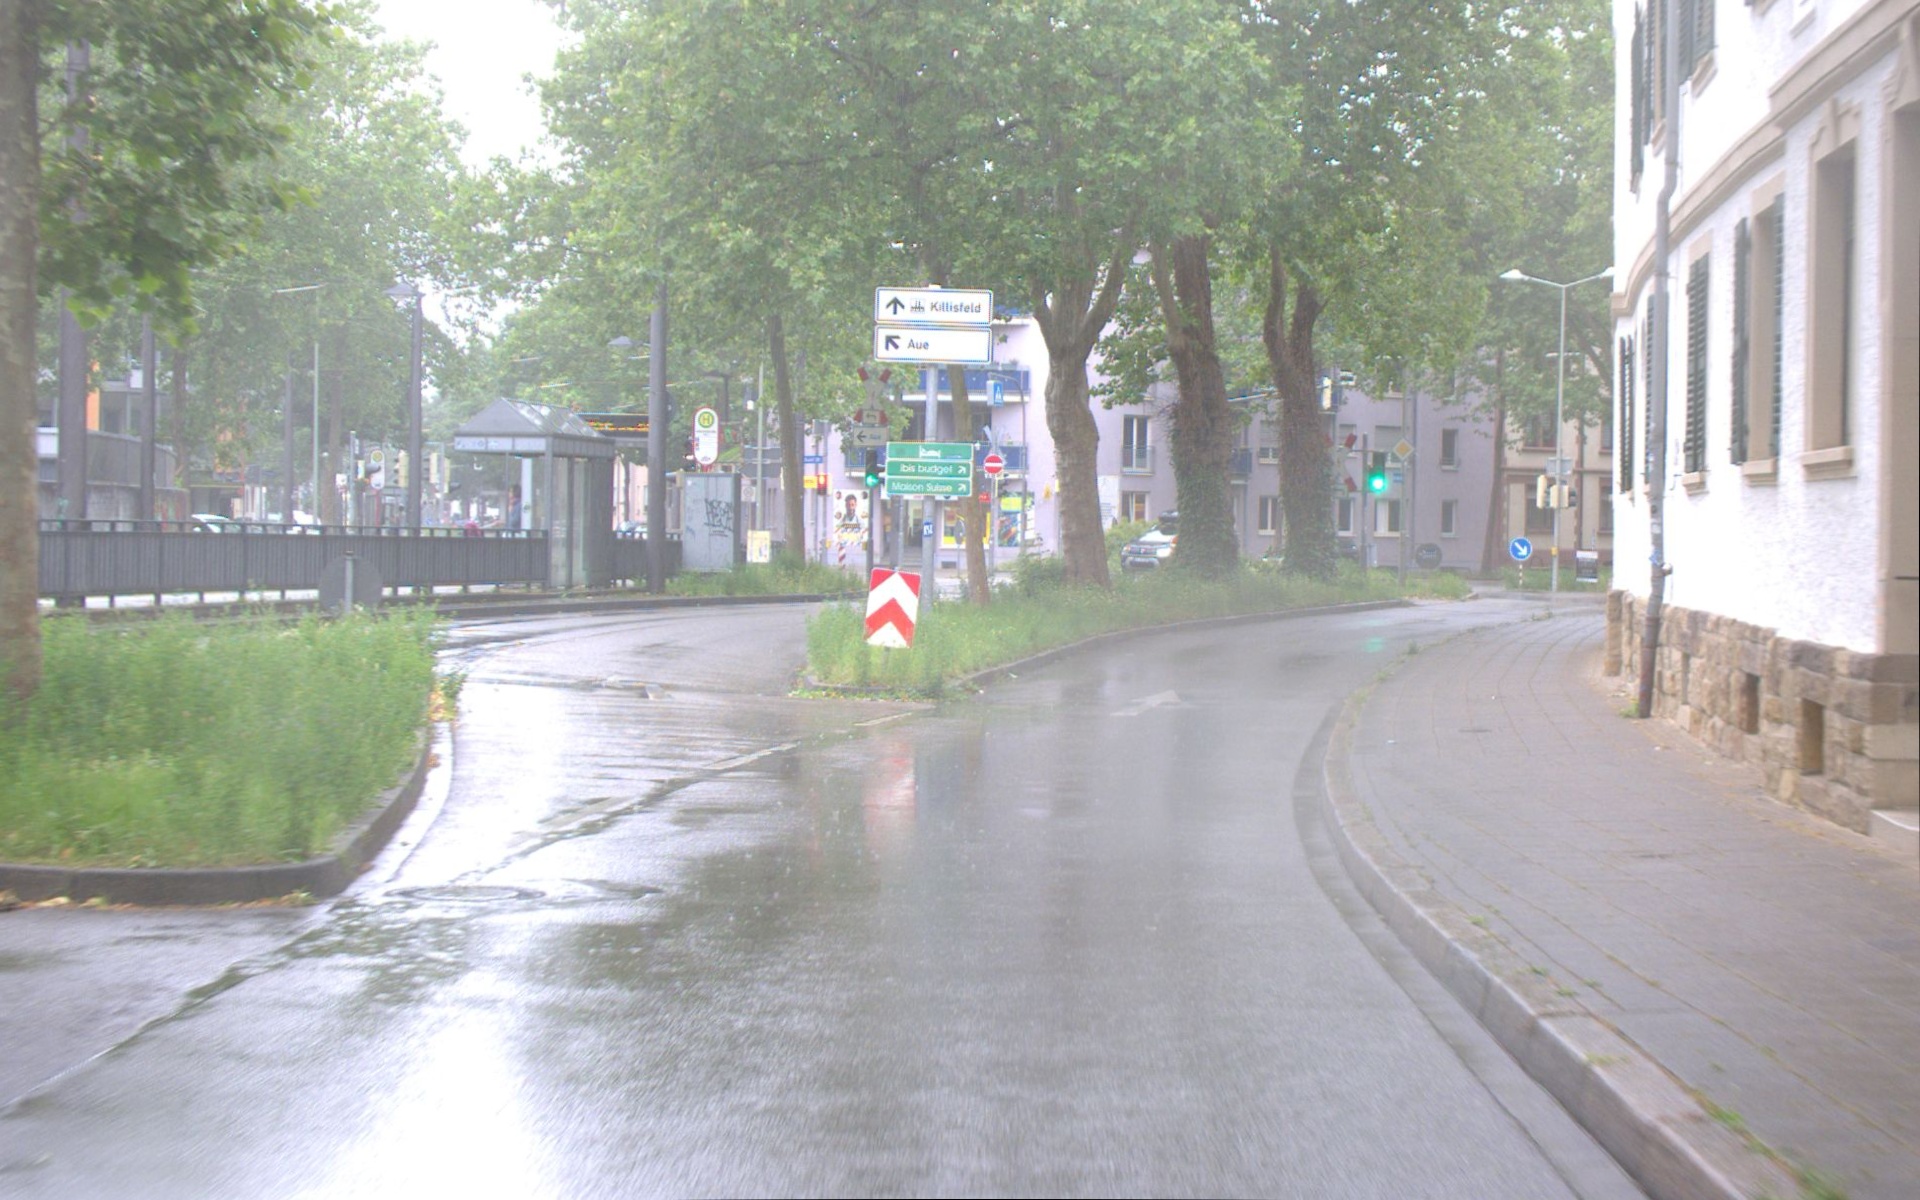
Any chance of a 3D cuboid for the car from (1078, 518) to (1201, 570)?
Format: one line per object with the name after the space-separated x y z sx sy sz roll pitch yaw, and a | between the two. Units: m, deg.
6.245 -1.933 119.423 3.989 1.592 1.999 2 1 -44 | car
